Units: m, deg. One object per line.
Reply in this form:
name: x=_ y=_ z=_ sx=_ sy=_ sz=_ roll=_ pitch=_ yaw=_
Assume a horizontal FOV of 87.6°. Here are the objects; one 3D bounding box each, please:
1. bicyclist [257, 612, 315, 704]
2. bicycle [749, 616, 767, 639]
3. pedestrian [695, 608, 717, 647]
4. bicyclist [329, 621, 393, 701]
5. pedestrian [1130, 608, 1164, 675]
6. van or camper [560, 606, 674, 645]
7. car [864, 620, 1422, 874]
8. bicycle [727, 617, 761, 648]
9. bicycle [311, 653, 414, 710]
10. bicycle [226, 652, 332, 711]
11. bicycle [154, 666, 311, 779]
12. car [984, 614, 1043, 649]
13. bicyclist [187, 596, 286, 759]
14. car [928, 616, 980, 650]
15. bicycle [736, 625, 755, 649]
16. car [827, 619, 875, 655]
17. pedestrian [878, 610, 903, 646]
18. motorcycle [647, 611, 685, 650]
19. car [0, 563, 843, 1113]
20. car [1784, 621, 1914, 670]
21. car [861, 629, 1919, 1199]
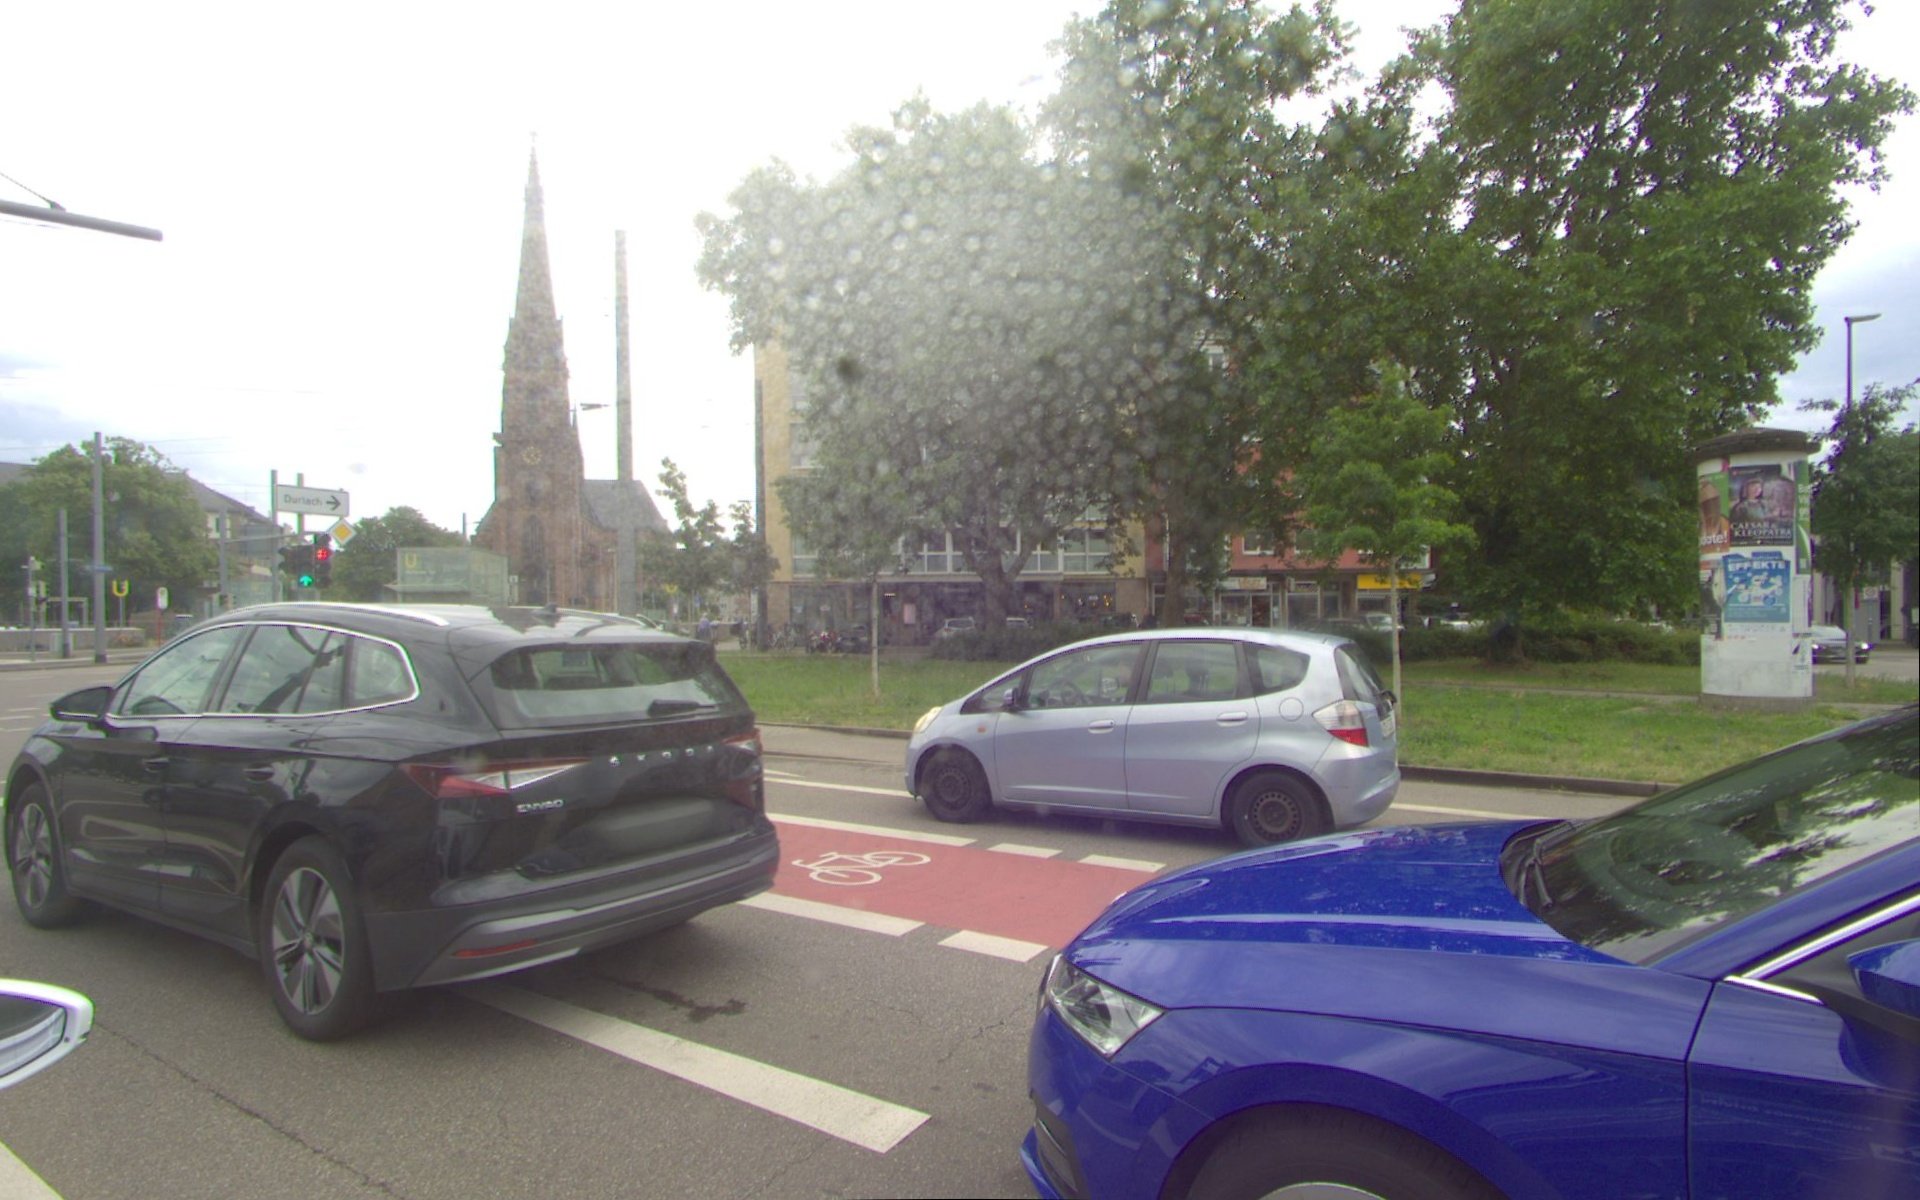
bicyclist: x=-13.379 y=1.134 z=19.889 sx=0.574 sy=1.775 sz=0.734 roll=0 pitch=2 yaw=6
bicycle: x=-10.724 y=1.459 z=53.258 sx=0.657 sy=1.184 sz=2.040 roll=0 pitch=0 yaw=-3
pedestrian: x=-11.728 y=1.251 z=46.252 sx=0.797 sy=1.760 sz=0.906 roll=0 pitch=1 yaw=-2
bicyclist: x=-11.856 y=1.187 z=19.848 sx=0.659 sy=1.542 sz=0.886 roll=0 pitch=0 yaw=12
pedestrian: x=5.218 y=1.139 z=27.977 sx=0.881 sy=1.843 sz=0.866 roll=0 pitch=1 yaw=8
van or camper: x=-18.321 y=1.334 z=53.682 sx=5.404 sy=2.004 sz=2.155 roll=0 pitch=-1 yaw=-39
car: x=1.331 y=0.927 z=7.666 sx=3.875 sy=1.502 sz=1.703 roll=-1 pitch=-2 yaw=31
bicycle: x=-10.221 y=1.511 z=47.470 sx=0.886 sy=1.395 sz=2.784 roll=0 pitch=0 yaw=2
bicycle: x=-11.842 y=1.589 z=19.922 sx=0.590 sy=1.011 sz=1.945 roll=0 pitch=-1 yaw=12
bicycle: x=-13.386 y=1.575 z=19.754 sx=0.568 sy=1.011 sz=1.992 roll=-1 pitch=0 yaw=6
bicycle: x=-8.072 y=1.313 z=11.085 sx=2.094 sy=1.069 sz=0.624 roll=0 pitch=0 yaw=31
car: x=2.444 y=1.448 z=47.010 sx=1.962 sy=1.461 sz=3.997 roll=-1 pitch=0 yaw=-9
bicyclist: x=-7.957 y=0.820 z=11.014 sx=0.794 sy=1.713 sz=0.614 roll=0 pitch=0 yaw=30
car: x=-0.310 y=1.508 z=46.679 sx=1.962 sy=1.483 sz=3.999 roll=0 pitch=-1 yaw=-7
bicycle: x=-11.405 y=1.949 z=53.267 sx=0.657 sy=1.184 sz=2.040 roll=0 pitch=0 yaw=-3
car: x=-4.944 y=1.649 z=45.848 sx=1.806 sy=1.462 sz=4.166 roll=-1 pitch=0 yaw=-1
pedestrian: x=-3.424 y=1.376 z=49.533 sx=1.032 sy=1.780 sz=0.786 roll=-1 pitch=1 yaw=-22
motorcycle: x=-10.997 y=1.107 z=37.530 sx=1.027 sy=1.384 sz=2.291 roll=-1 pitch=0 yaw=-9
car: x=-2.936 y=0.760 z=5.020 sx=4.448 sy=1.680 sz=1.900 roll=-1 pitch=0 yaw=31
car: x=32.195 y=1.597 z=36.455 sx=1.858 sy=1.564 sz=4.872 roll=0 pitch=0 yaw=20
car: x=2.227 y=0.778 z=1.625 sx=4.689 sy=1.454 sz=1.762 roll=-1 pitch=-2 yaw=33
